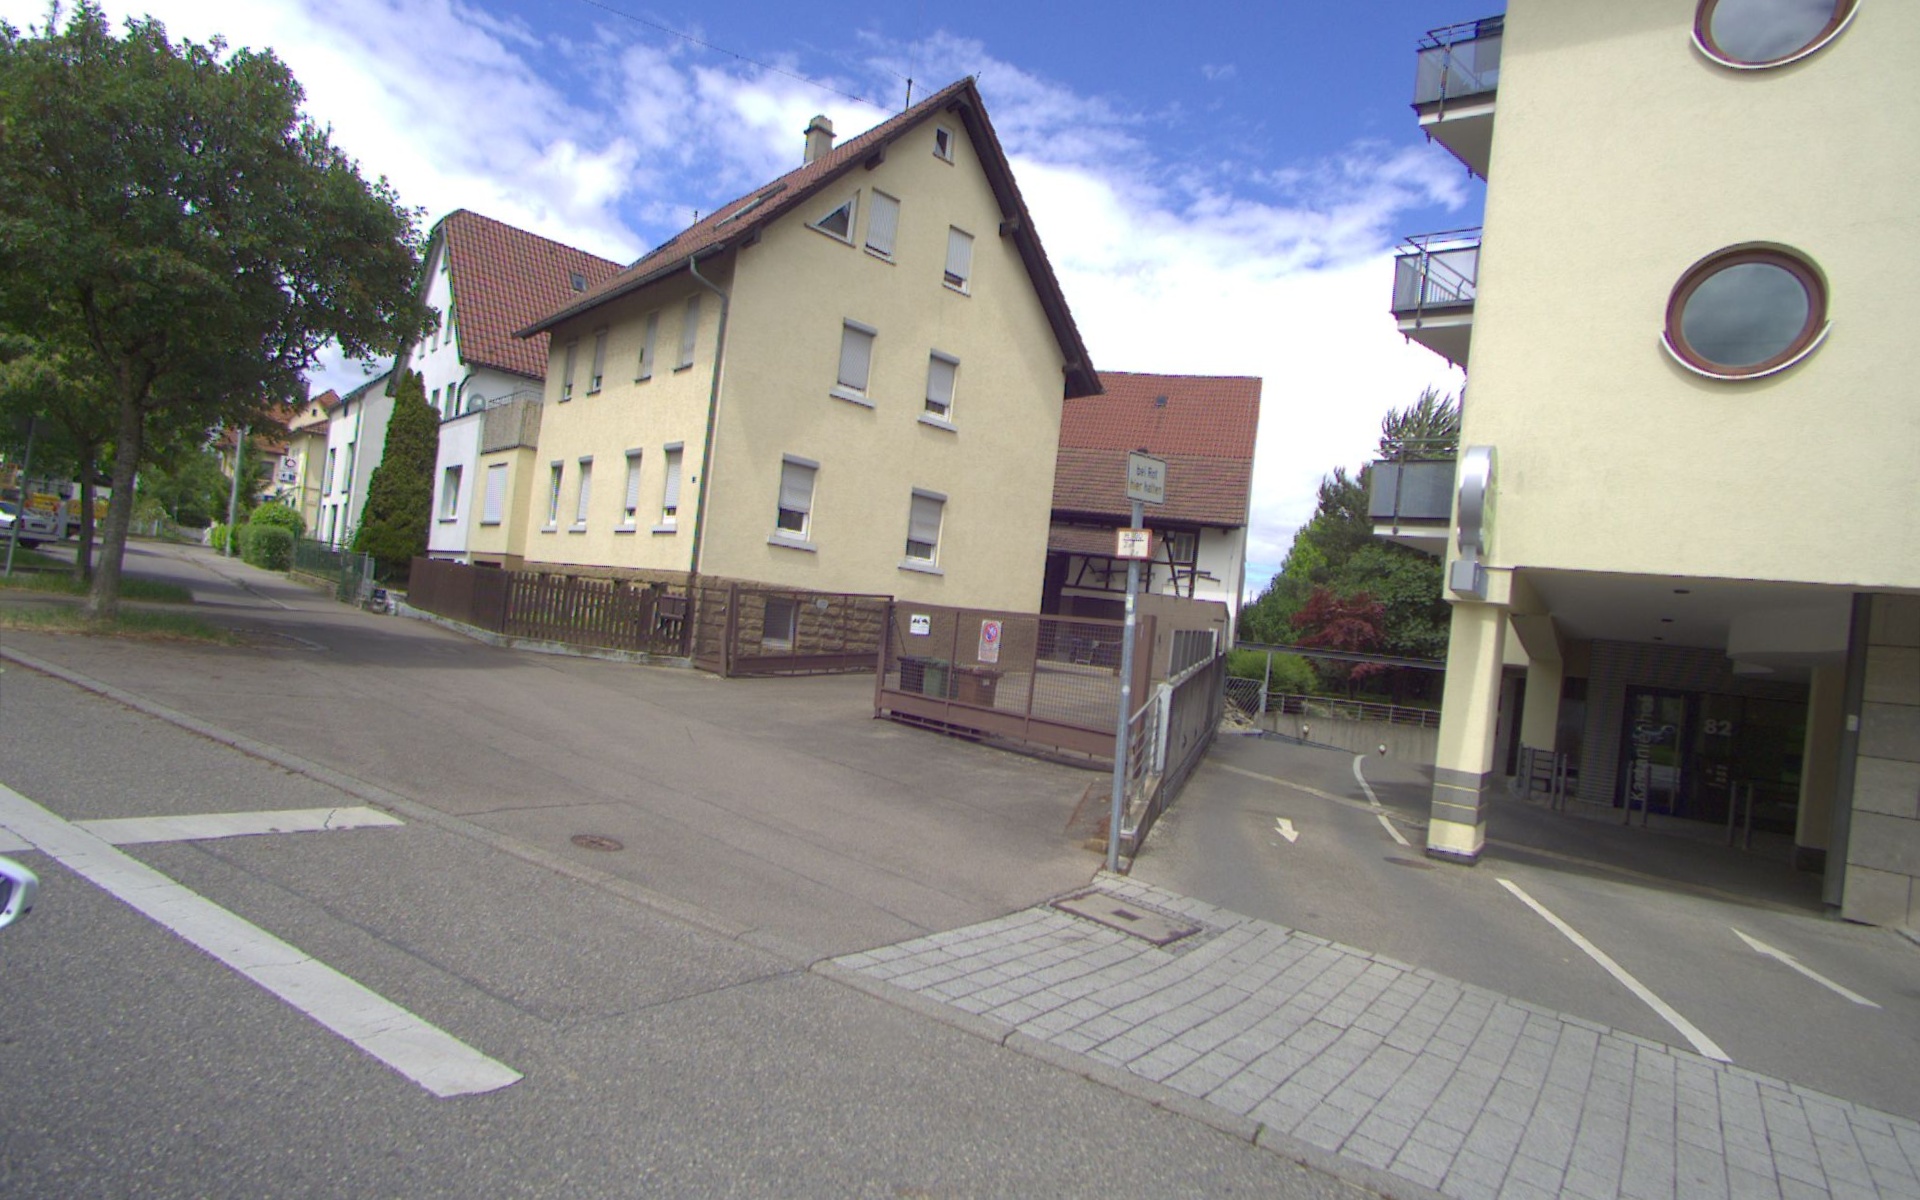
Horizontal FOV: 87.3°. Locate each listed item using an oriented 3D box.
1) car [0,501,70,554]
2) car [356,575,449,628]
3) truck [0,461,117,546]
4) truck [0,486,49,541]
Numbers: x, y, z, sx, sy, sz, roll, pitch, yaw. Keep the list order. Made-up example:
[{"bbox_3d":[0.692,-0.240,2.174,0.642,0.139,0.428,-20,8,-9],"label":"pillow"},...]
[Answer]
[{"bbox_3d":[-32.275,-2.630,32.828,4.606,1.468,1.768,8,-2,-3],"label":"car"},{"bbox_3d":[-15.899,0.023,28.592,1.458,1.136,3.830,11,-5,-40],"label":"car"},{"bbox_3d":[-43.320,-4.647,46.006,6.590,3.040,2.772,8,-3,-5],"label":"truck"},{"bbox_3d":[-43.063,-4.084,43.181,5.577,2.035,2.002,8,-3,-4],"label":"truck"}]
